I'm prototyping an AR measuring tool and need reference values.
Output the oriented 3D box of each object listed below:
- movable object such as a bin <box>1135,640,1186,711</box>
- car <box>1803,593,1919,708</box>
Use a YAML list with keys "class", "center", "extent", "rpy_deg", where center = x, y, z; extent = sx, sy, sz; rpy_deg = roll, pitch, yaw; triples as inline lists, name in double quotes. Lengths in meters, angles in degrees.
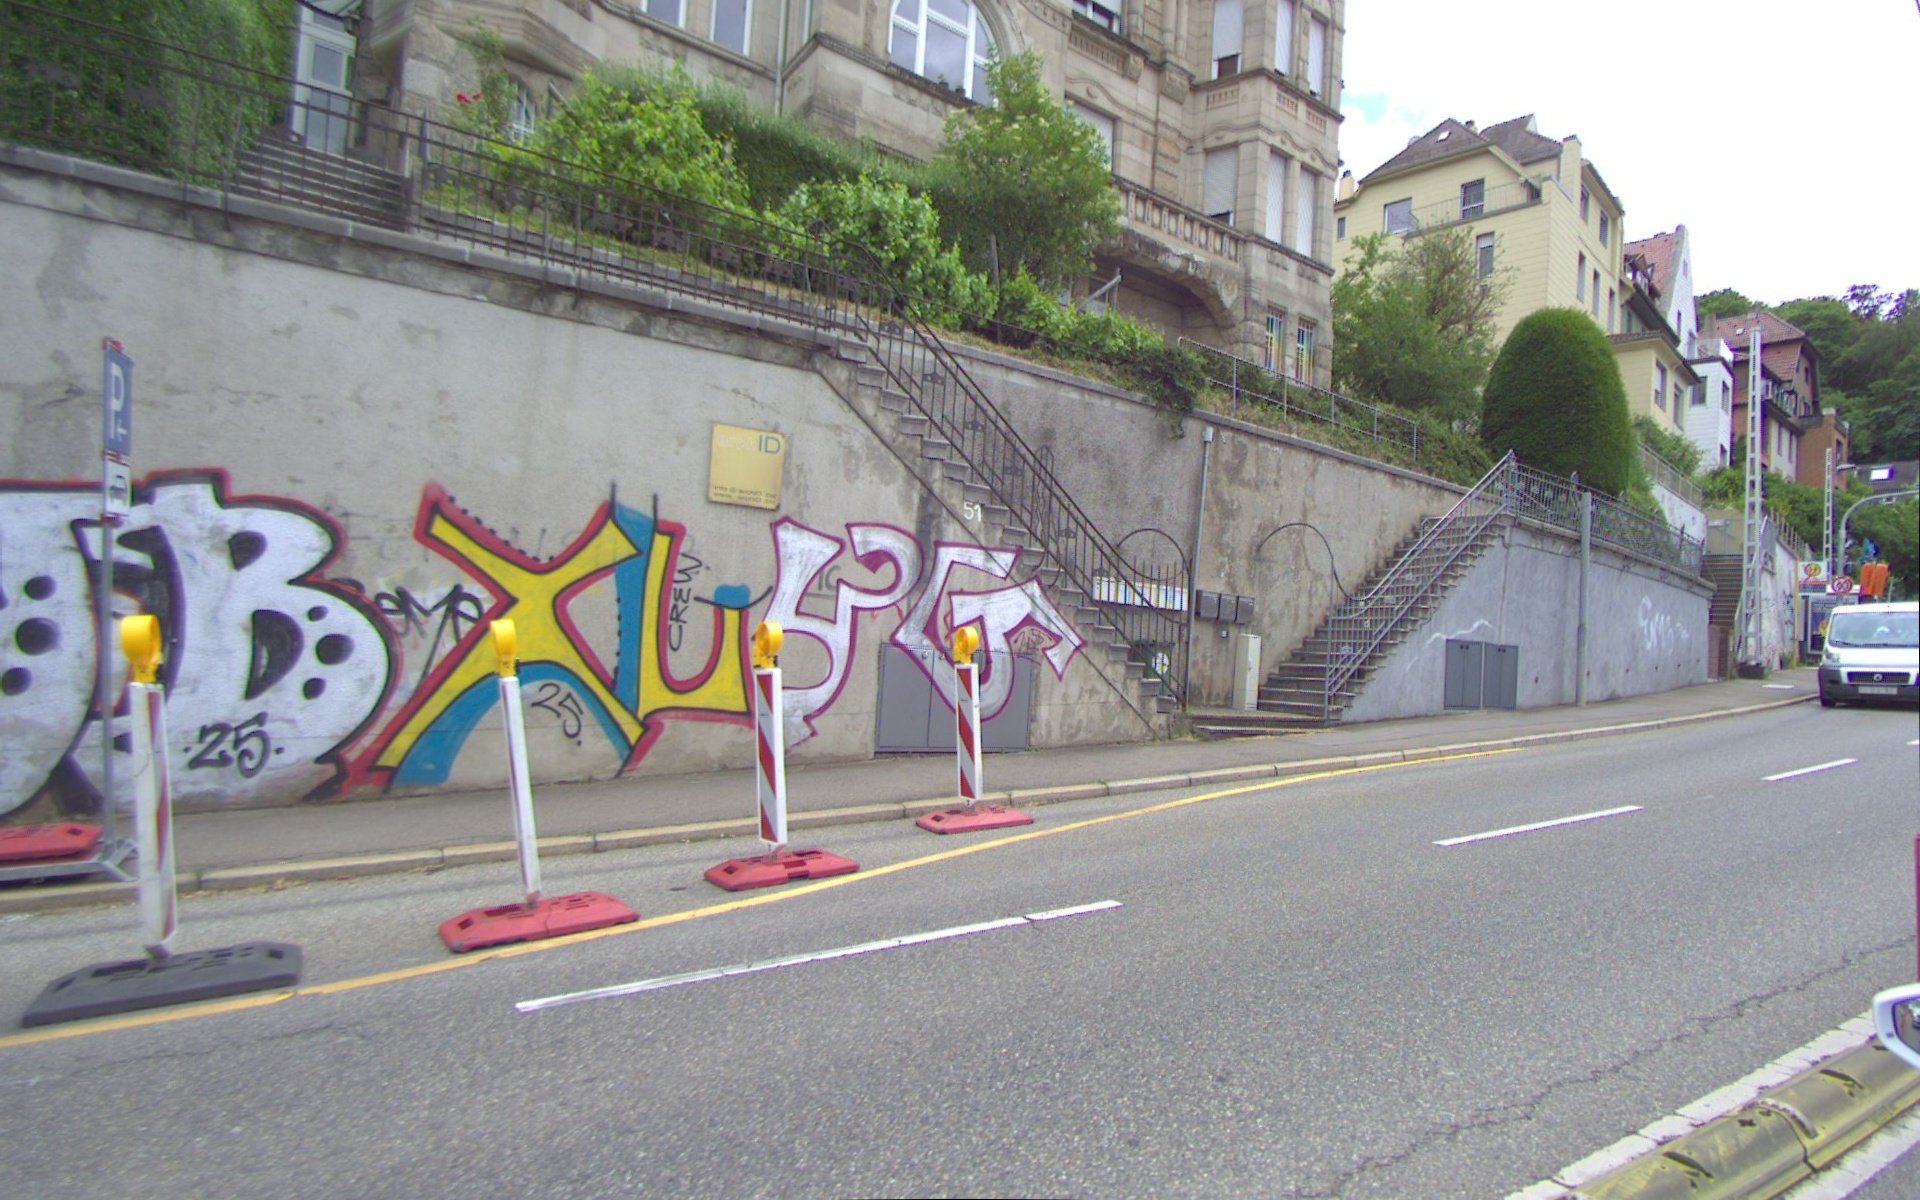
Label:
- class: "movable object such as a bin"
  center: [2.717, 1.016, 13.651]
  extent: [0.502, 0.923, 0.451]
  rpy_deg: [1, 0, -32]
- class: "car"
  center: [19.956, 1.050, 21.491]
  extent: [4.921, 2.216, 2.050]
  rpy_deg: [1, -3, -40]
